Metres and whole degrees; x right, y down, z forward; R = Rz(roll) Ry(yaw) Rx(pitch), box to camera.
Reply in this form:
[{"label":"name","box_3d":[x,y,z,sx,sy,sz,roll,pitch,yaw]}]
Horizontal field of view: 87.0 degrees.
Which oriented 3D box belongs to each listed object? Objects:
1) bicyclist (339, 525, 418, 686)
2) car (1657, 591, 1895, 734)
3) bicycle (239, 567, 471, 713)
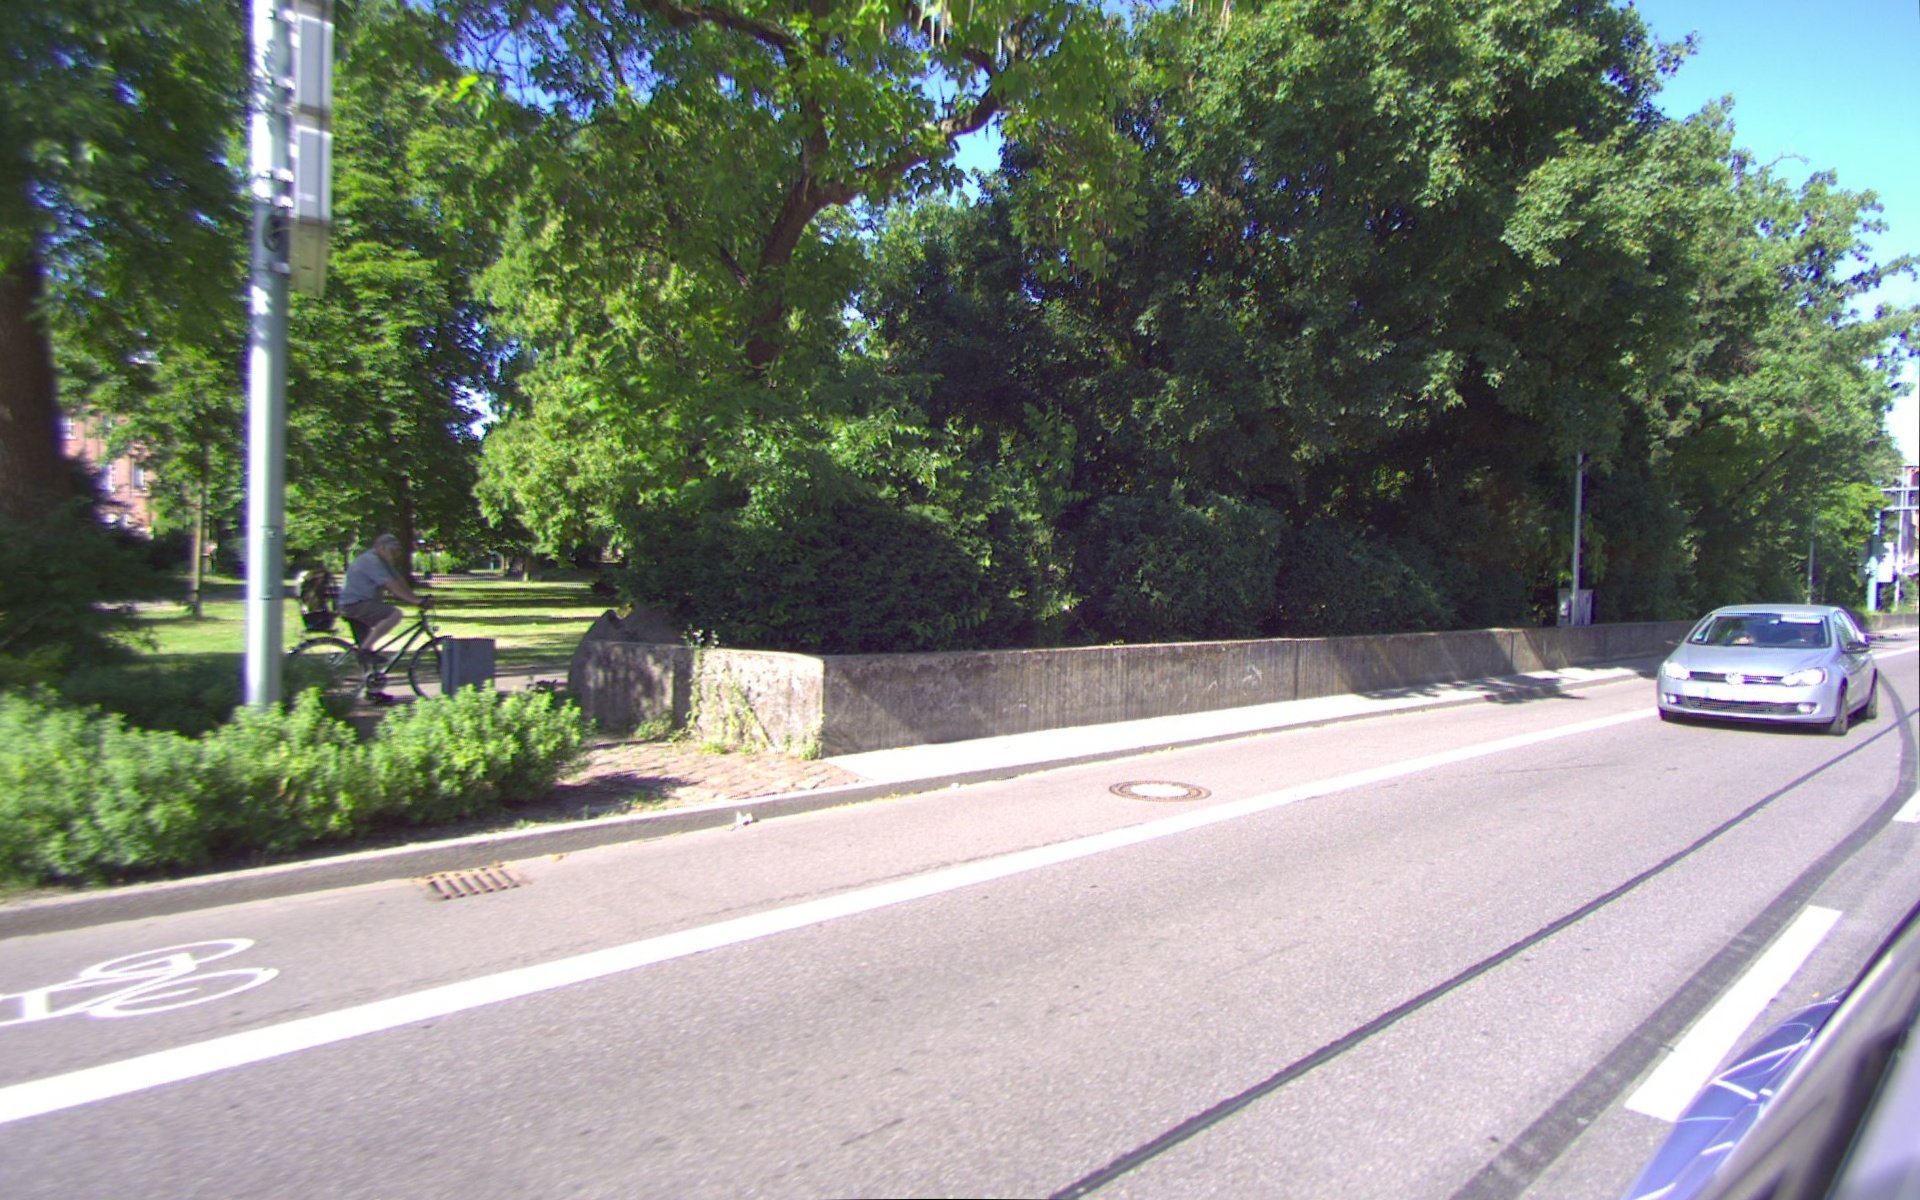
[{"label":"bicyclist","box_3d":[-5.779,0.041,10.056,0.561,1.526,0.688,0,1,-41]},{"label":"car","box_3d":[10.290,0.646,12.660,3.931,1.492,1.701,0,1,-42]},{"label":"bicycle","box_3d":[-5.905,0.348,9.946,1.876,1.307,0.623,0,1,-41]}]
